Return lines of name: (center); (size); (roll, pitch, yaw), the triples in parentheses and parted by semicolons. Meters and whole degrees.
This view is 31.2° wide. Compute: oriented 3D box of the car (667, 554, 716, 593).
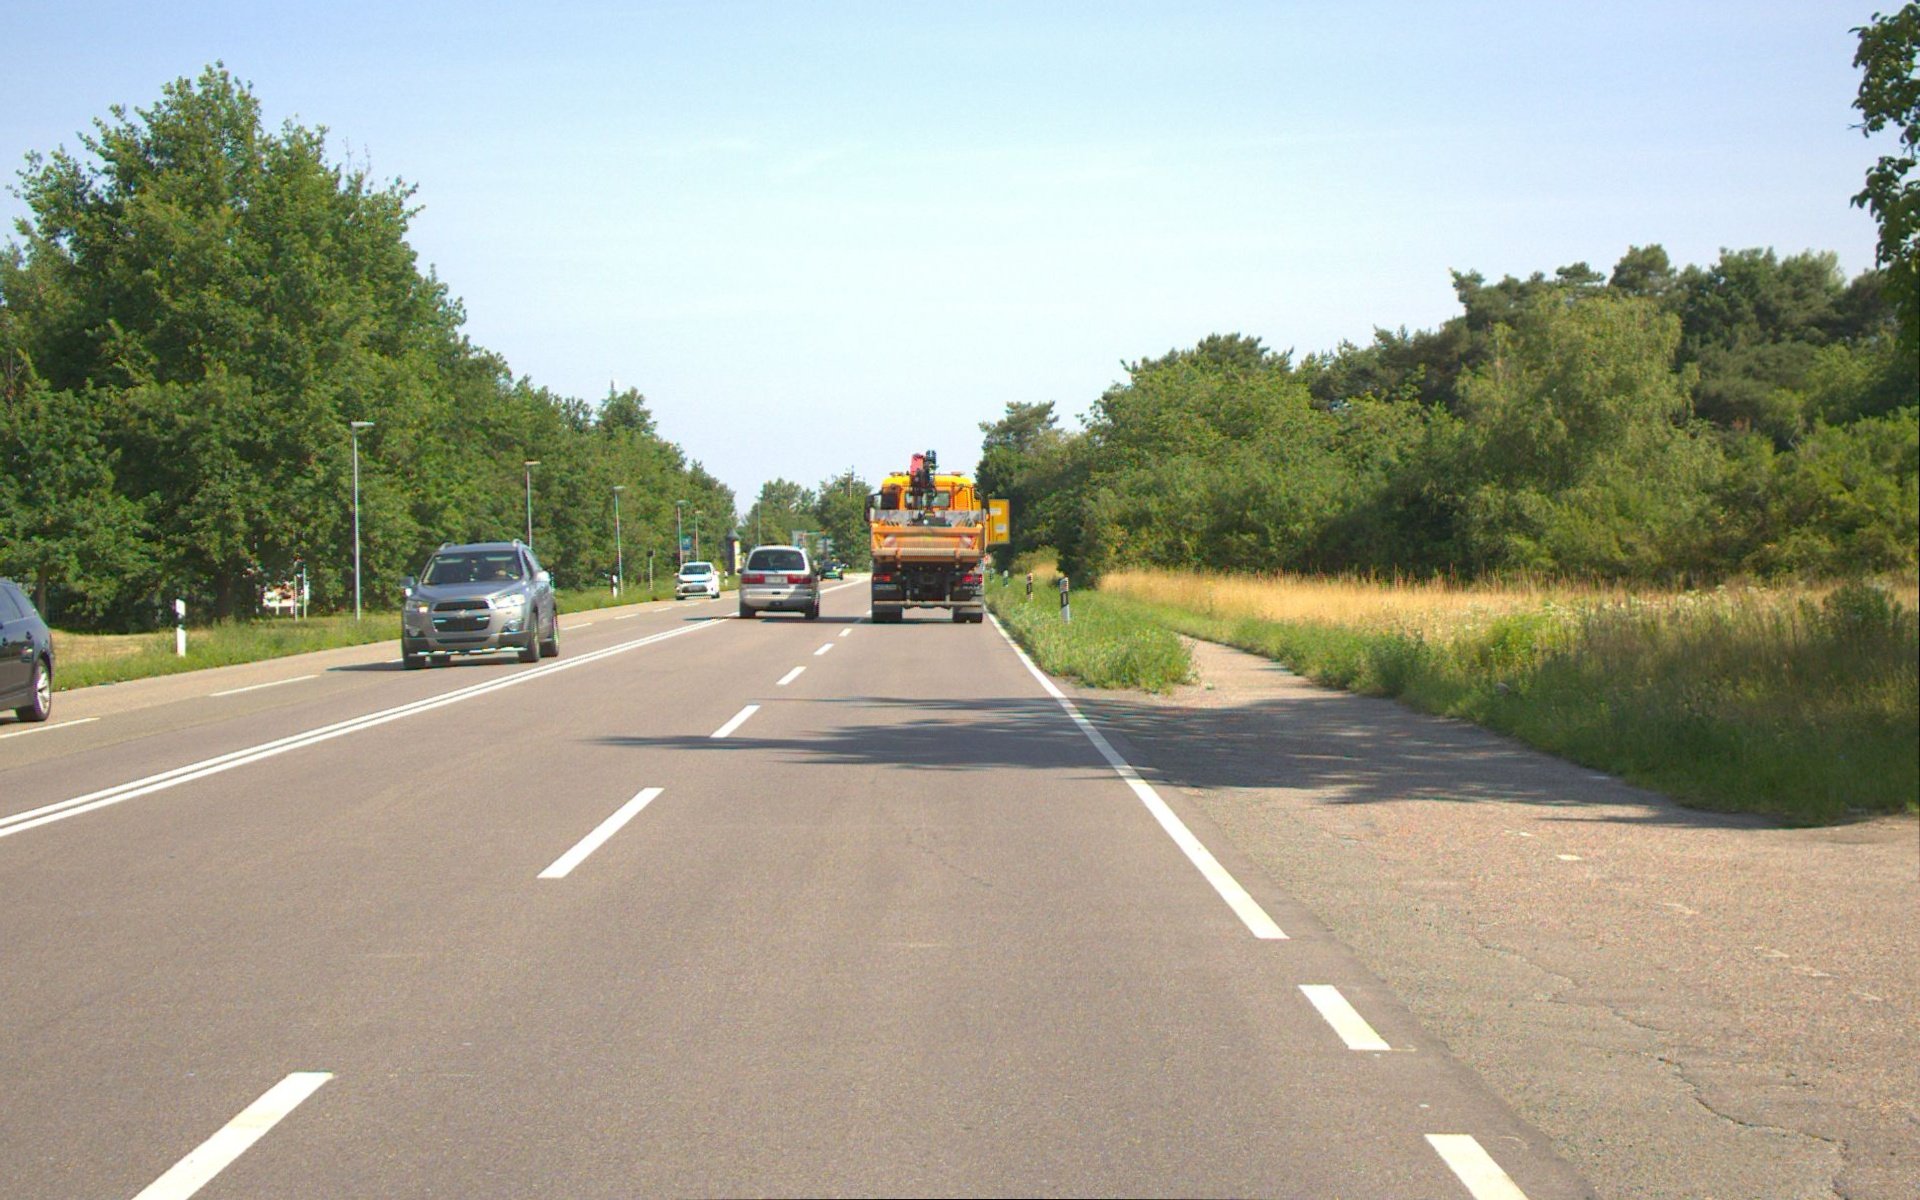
car: (-10.824, -1.076, 138.658); (1.659, 1.432, 3.736); (-3, 1, -1)

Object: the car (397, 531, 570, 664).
car: (-6.712, -0.073, 48.805); (1.771, 1.708, 4.569); (-3, 1, 0)

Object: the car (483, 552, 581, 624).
car: (-9.786, -0.301, 78.800); (1.729, 1.555, 4.215); (1, 1, -1)

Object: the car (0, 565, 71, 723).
car: (-9.865, 0.454, 32.558); (1.652, 1.475, 4.740); (-3, 1, -1)

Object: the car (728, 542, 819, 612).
car: (-4.323, -0.550, 80.265); (1.993, 1.578, 4.000); (-1, 1, -2)

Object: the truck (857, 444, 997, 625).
truck: (-0.827, -1.446, 78.014); (2.871, 3.867, 7.400); (1, 1, -3)
